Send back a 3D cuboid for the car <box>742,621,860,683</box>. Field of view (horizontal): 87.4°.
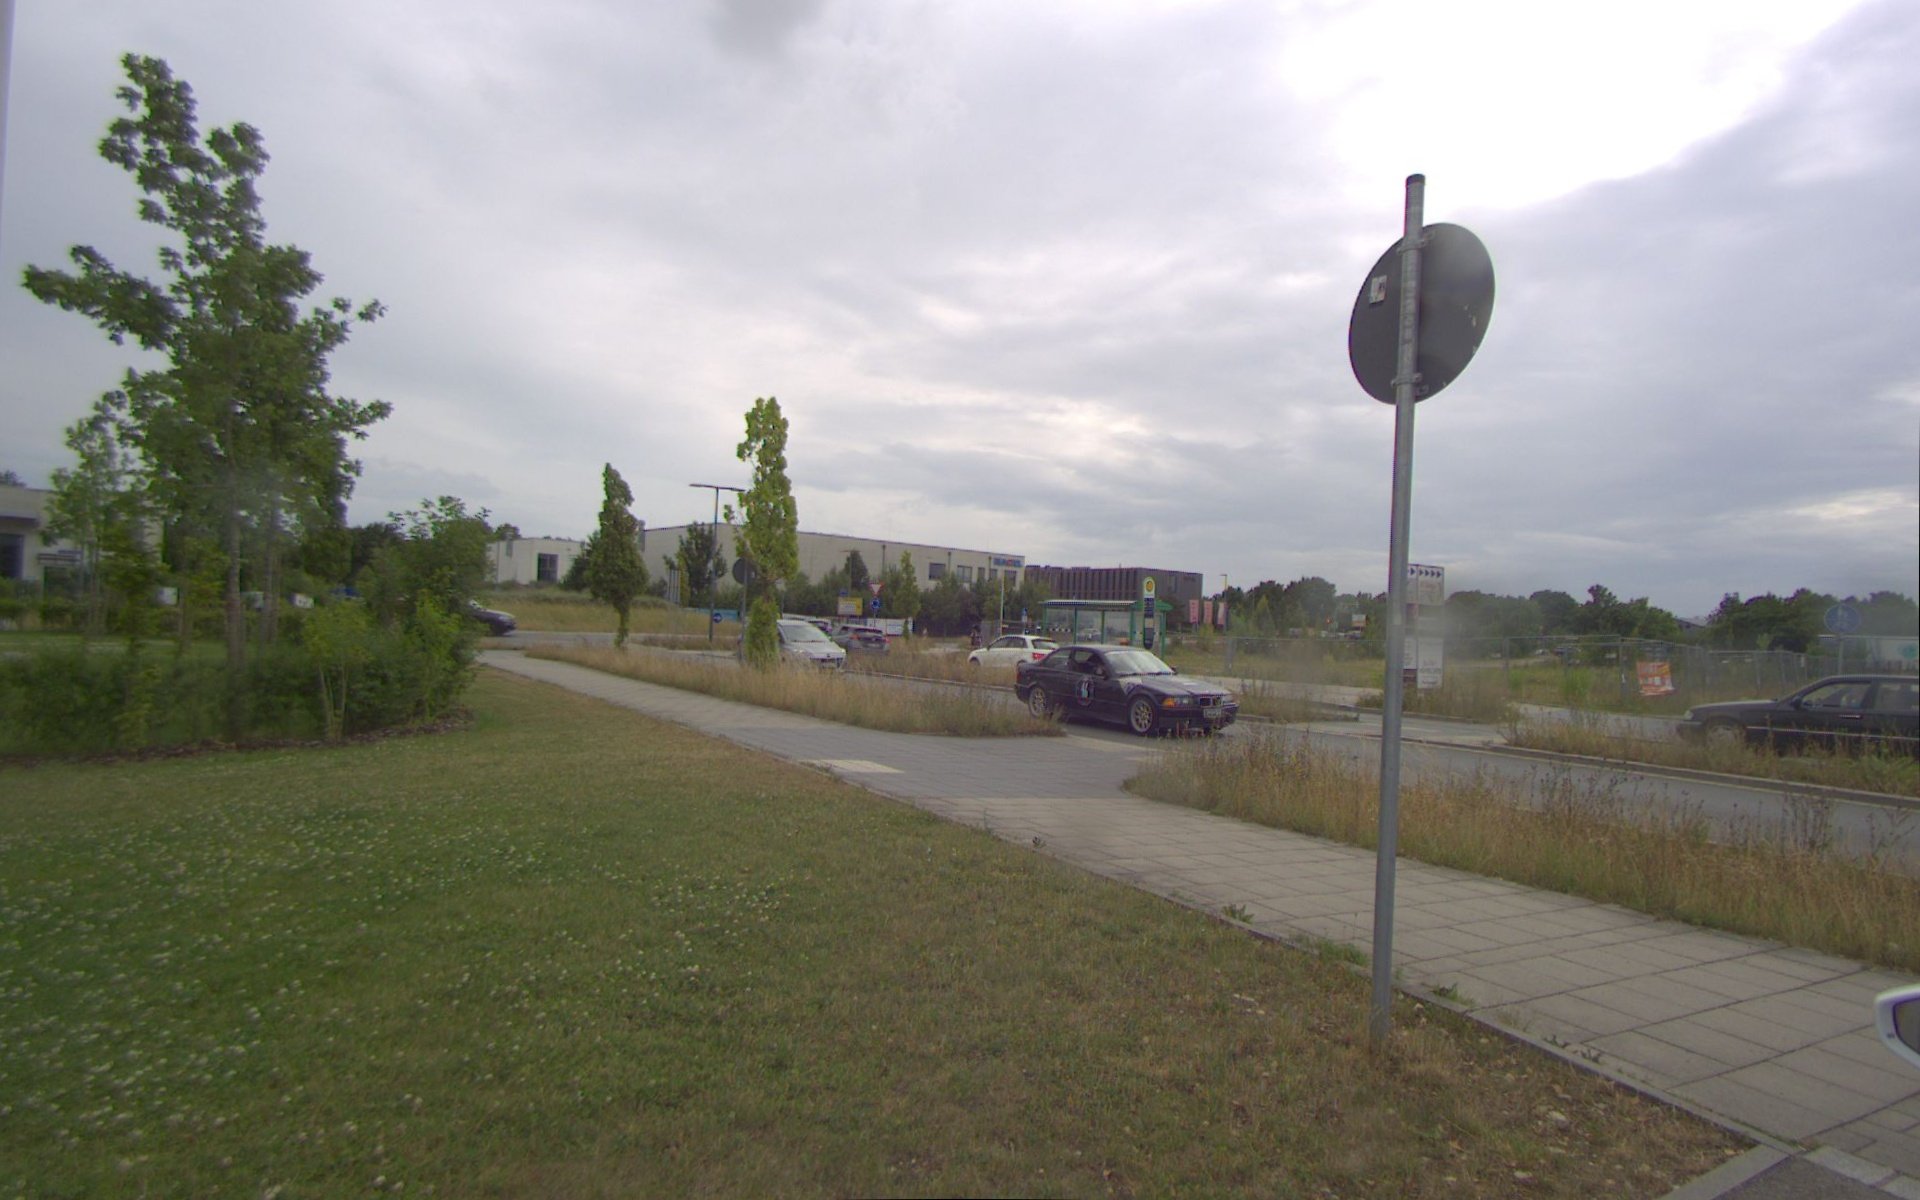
[{"bbox_3d":[-4.703,1.451,29.168,1.801,1.584,4.363,2,-1,-32],"label":"car"}]

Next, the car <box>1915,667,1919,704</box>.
[{"bbox_3d":[43.106,3.743,41.530,1.981,1.578,4.973,4,-1,-36],"label":"car"}]

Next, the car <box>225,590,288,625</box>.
[{"bbox_3d":[-36.483,0.386,52.036,3.944,1.661,1.884,1,-2,44],"label":"car"}]

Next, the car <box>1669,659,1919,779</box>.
[{"bbox_3d":[12.992,1.702,14.338,1.772,1.414,4.332,5,-2,-32],"label":"car"}]

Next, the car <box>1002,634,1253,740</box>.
[{"bbox_3d":[2.677,1.384,17.003,1.741,1.405,4.261,3,-1,-33],"label":"car"}]

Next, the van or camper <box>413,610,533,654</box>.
[{"bbox_3d":[-22.627,1.484,46.782,4.485,1.771,1.999,3,-1,-4],"label":"van or camper"}]

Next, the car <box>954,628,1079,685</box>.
[{"bbox_3d":[1.711,1.745,31.646,1.741,1.500,4.015,4,-1,-35],"label":"car"}]

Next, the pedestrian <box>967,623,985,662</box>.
[{"bbox_3d":[0.722,1.935,46.286,0.729,1.744,0.651,3,-1,1],"label":"pedestrian"}]

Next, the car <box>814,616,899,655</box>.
[{"bbox_3d":[-4.262,1.434,40.930,1.701,1.360,4.024,3,-1,-35],"label":"car"}]

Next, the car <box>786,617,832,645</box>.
[{"bbox_3d":[-8.551,1.734,56.661,1.693,1.360,3.944,3,-1,-21],"label":"car"}]

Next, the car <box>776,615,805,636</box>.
[{"bbox_3d":[-12.178,1.801,71.931,1.689,1.360,3.953,3,-1,-14],"label":"car"}]
